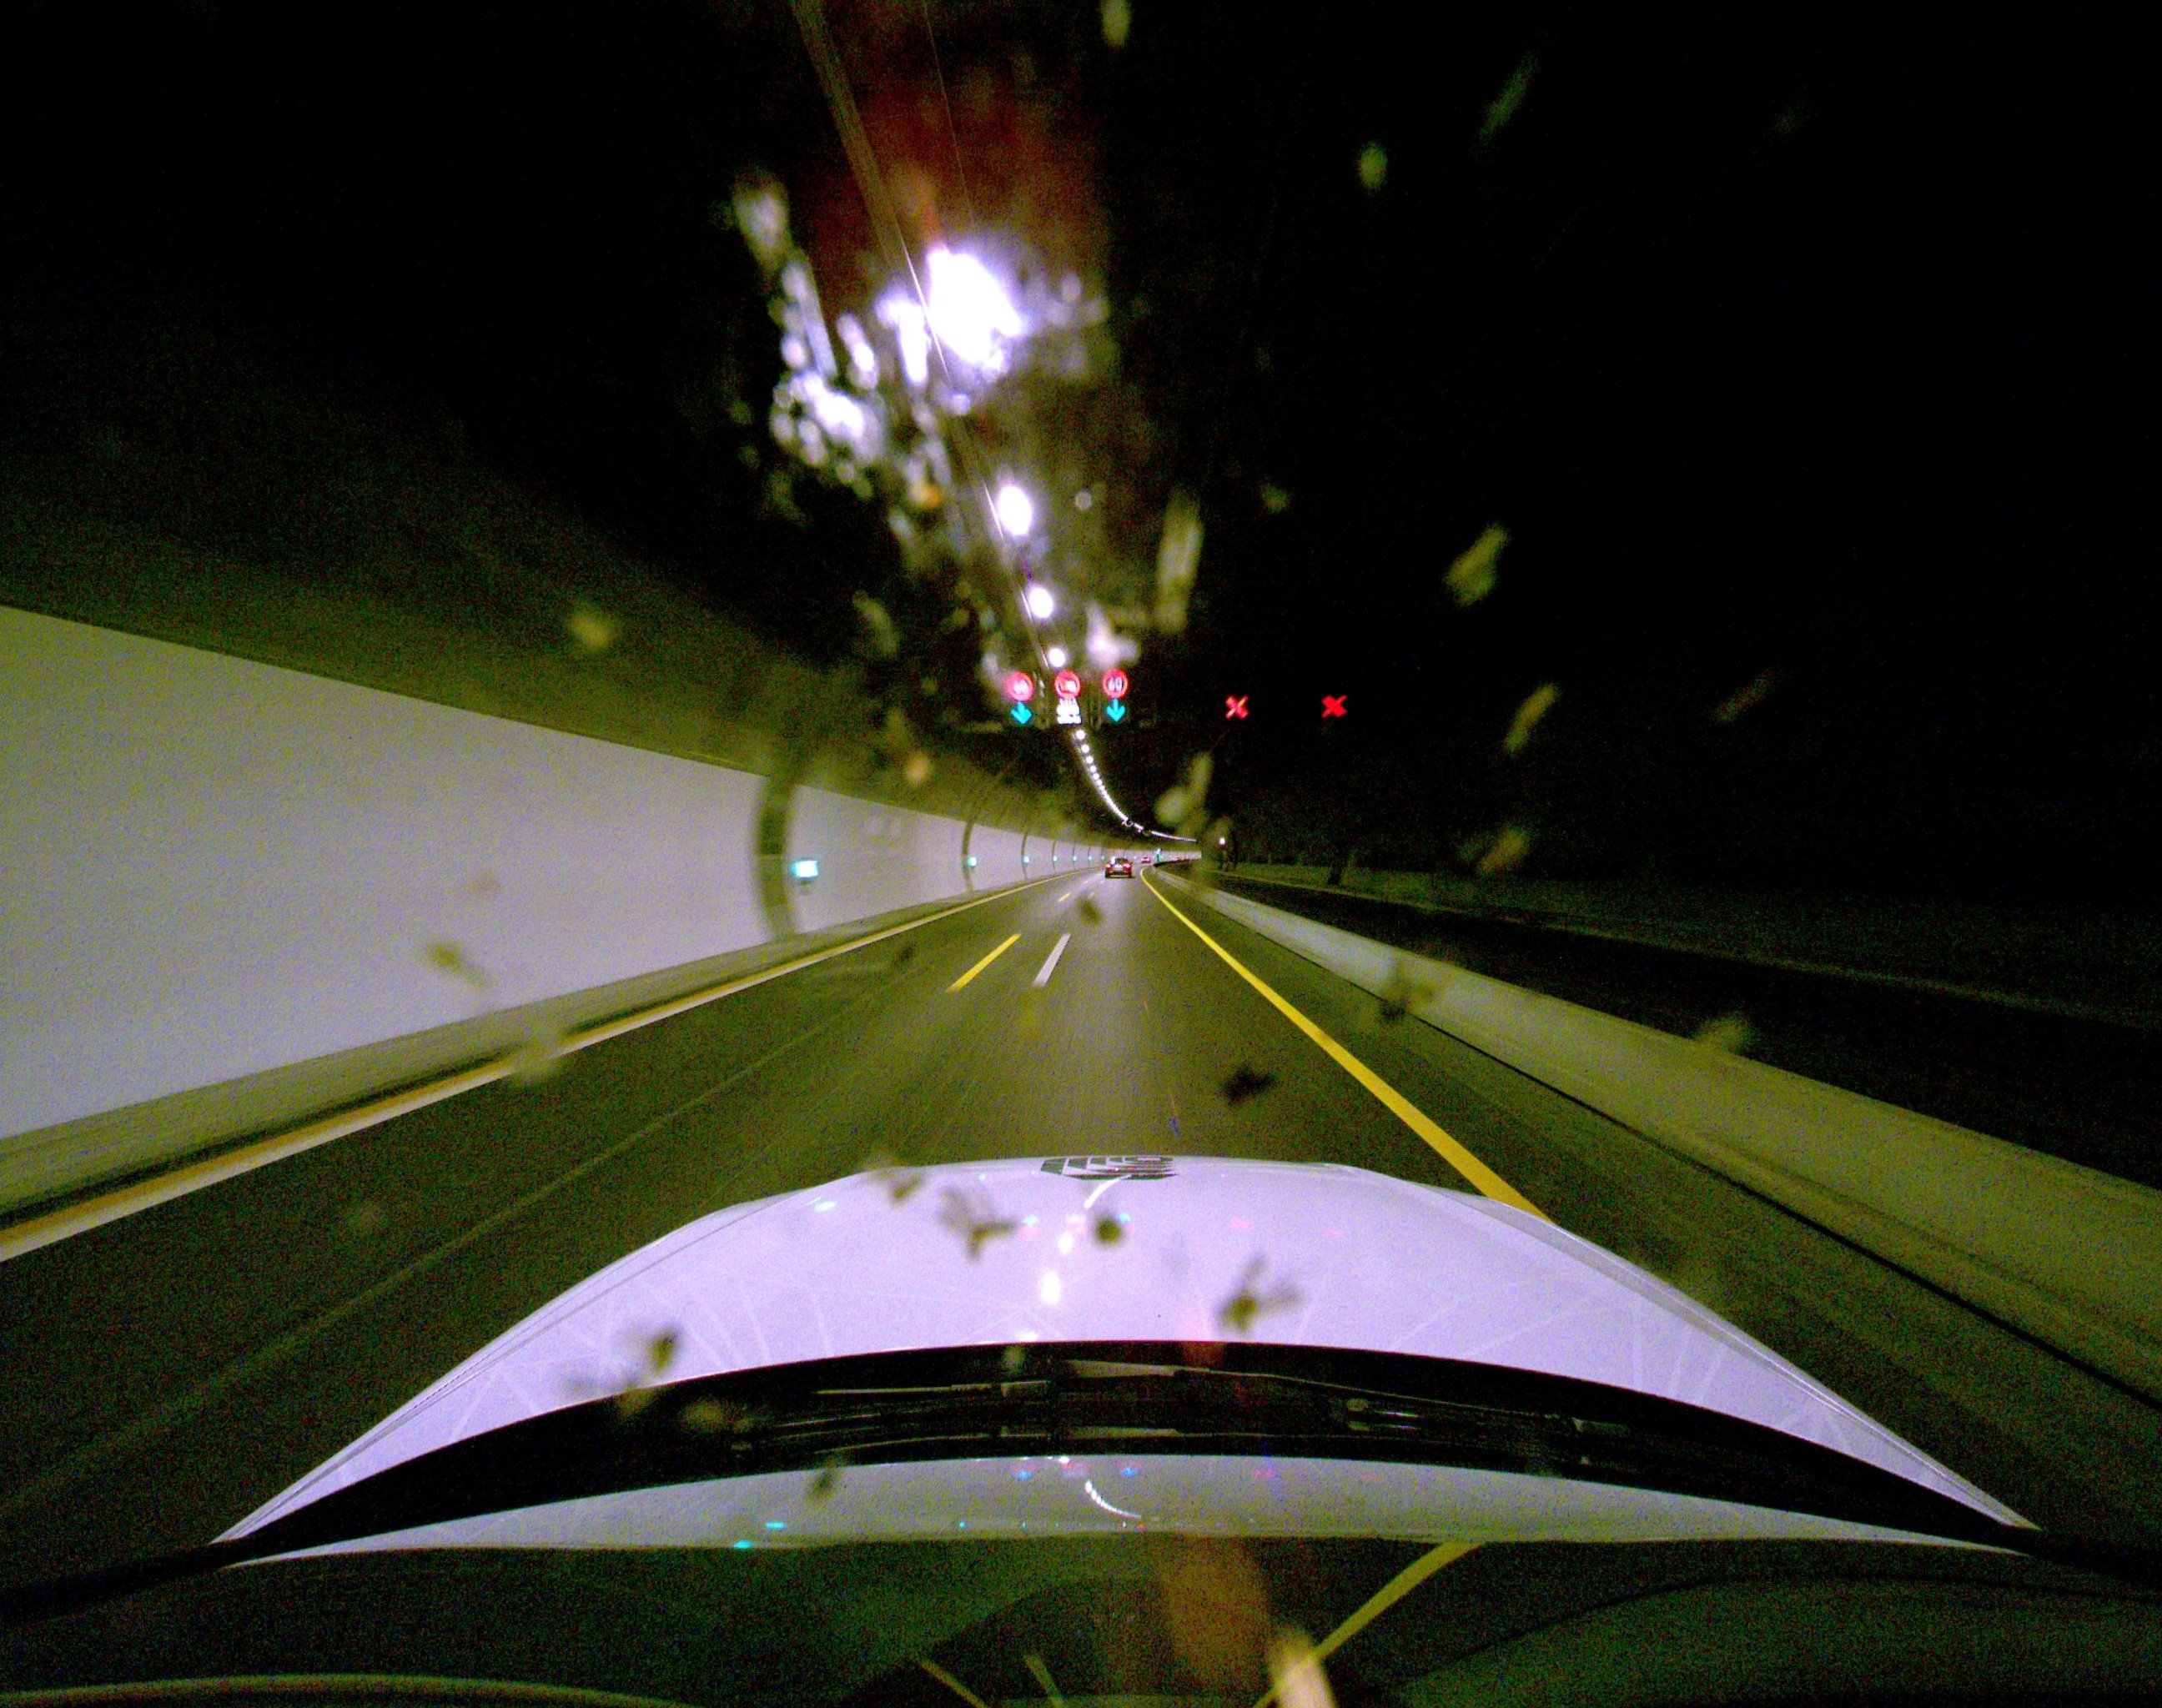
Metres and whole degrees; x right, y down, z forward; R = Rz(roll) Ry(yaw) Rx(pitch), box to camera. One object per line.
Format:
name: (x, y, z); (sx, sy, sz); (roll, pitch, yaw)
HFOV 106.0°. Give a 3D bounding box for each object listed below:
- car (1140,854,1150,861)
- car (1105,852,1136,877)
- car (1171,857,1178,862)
car: (14.825, 0.878, 187.577); (2.153, 1.486, 4.008); (-1, 0, 7)
car: (2.808, 0.731, 58.144); (2.132, 1.706, 4.003); (-1, 0, 2)
car: (27.069, 1.690, 236.031); (1.585, 1.333, 3.761); (-1, 0, 10)
